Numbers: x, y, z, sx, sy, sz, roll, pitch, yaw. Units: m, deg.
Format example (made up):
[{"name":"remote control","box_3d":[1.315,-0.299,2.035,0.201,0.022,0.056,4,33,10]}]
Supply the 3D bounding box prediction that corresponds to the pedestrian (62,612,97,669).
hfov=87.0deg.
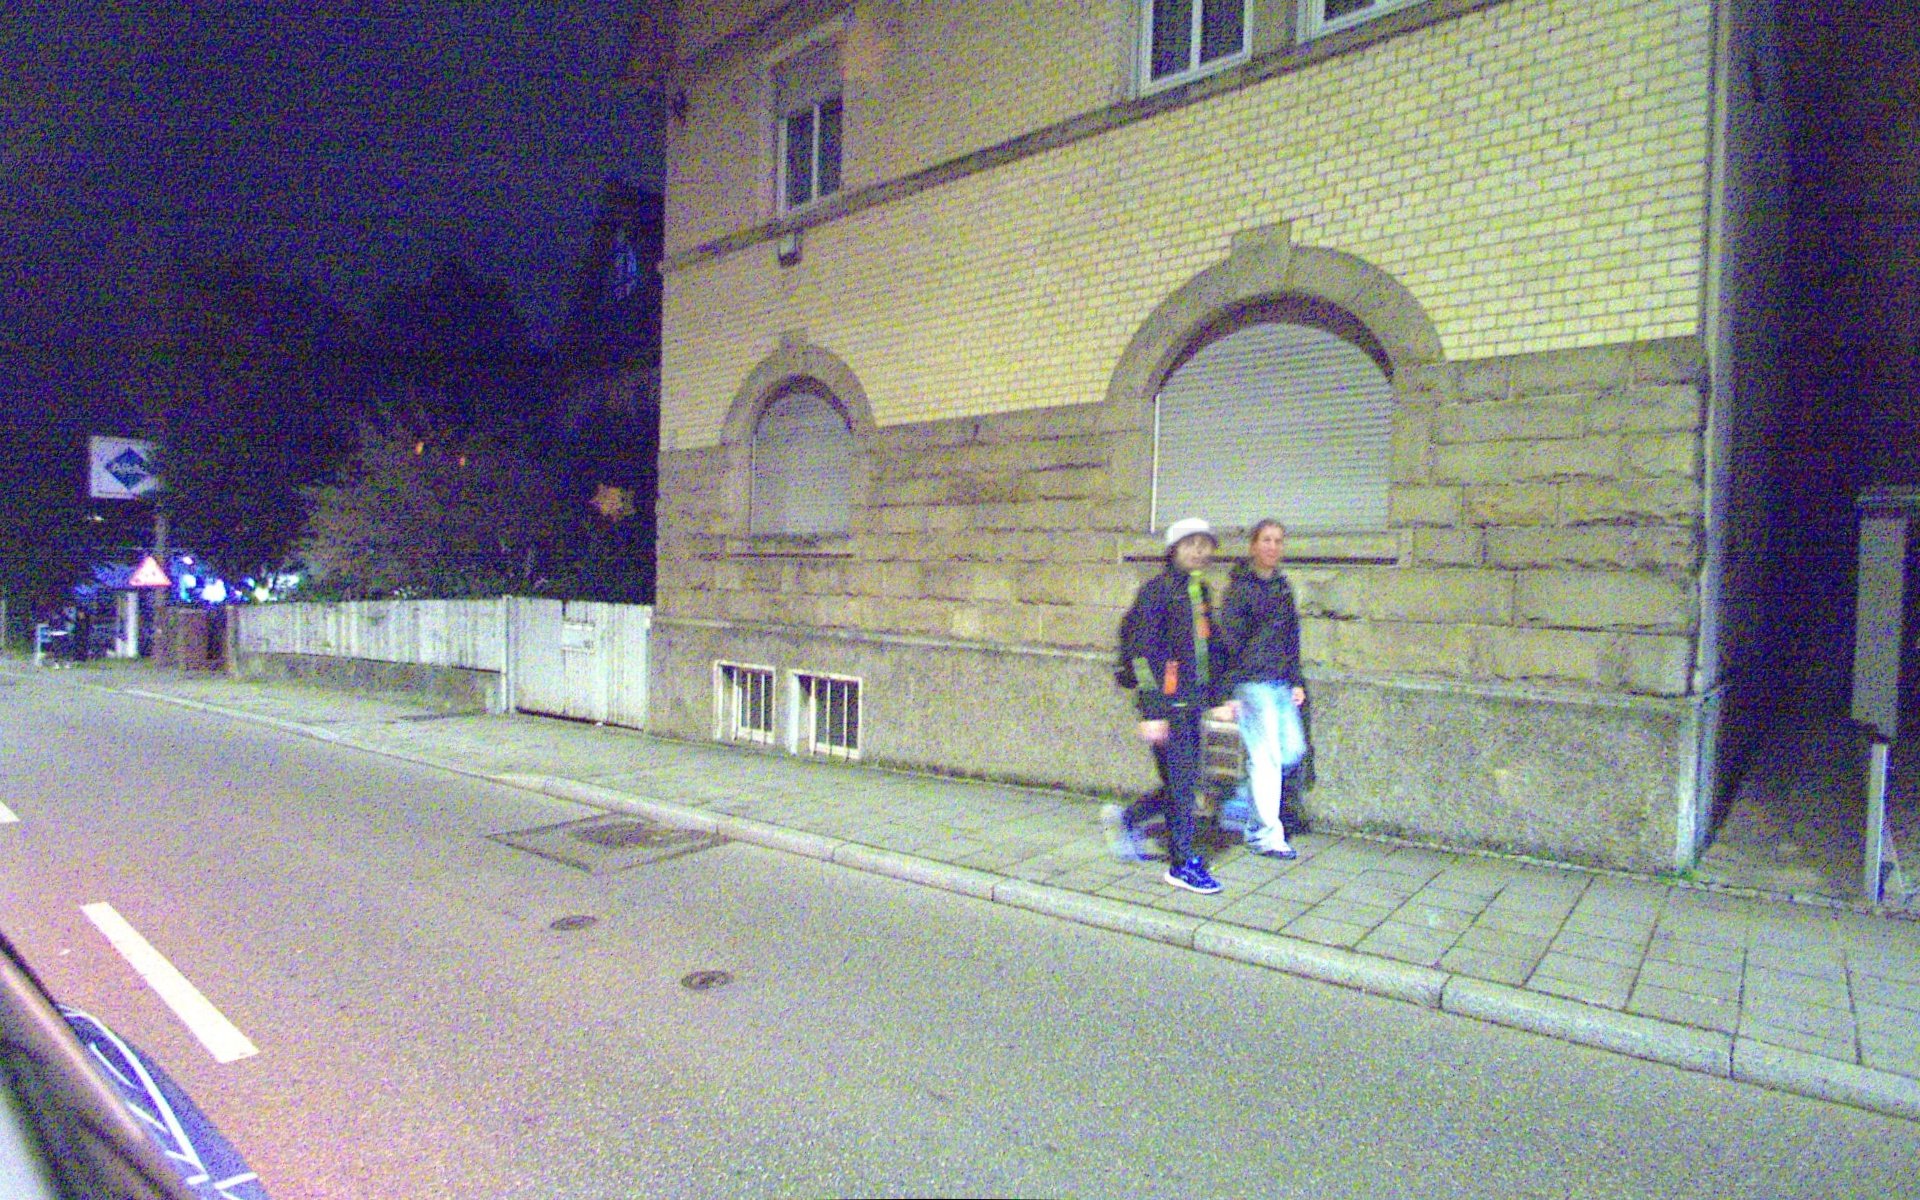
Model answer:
[{"name":"pedestrian","box_3d":[-27.553,1.255,31.670,0.865,1.739,0.662,-1,-1,38]}]

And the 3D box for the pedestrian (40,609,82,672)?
[{"name":"pedestrian","box_3d":[-25.044,1.109,28.189,1.102,1.684,0.734,-1,0,40]}]

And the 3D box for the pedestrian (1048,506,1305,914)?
[{"name":"pedestrian","box_3d":[1.049,0.474,4.947,1.028,1.758,0.668,-1,0,40]}]

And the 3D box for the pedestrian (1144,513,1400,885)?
[{"name":"pedestrian","box_3d":[1.663,0.470,5.426,1.102,1.758,0.734,-1,0,40]}]
